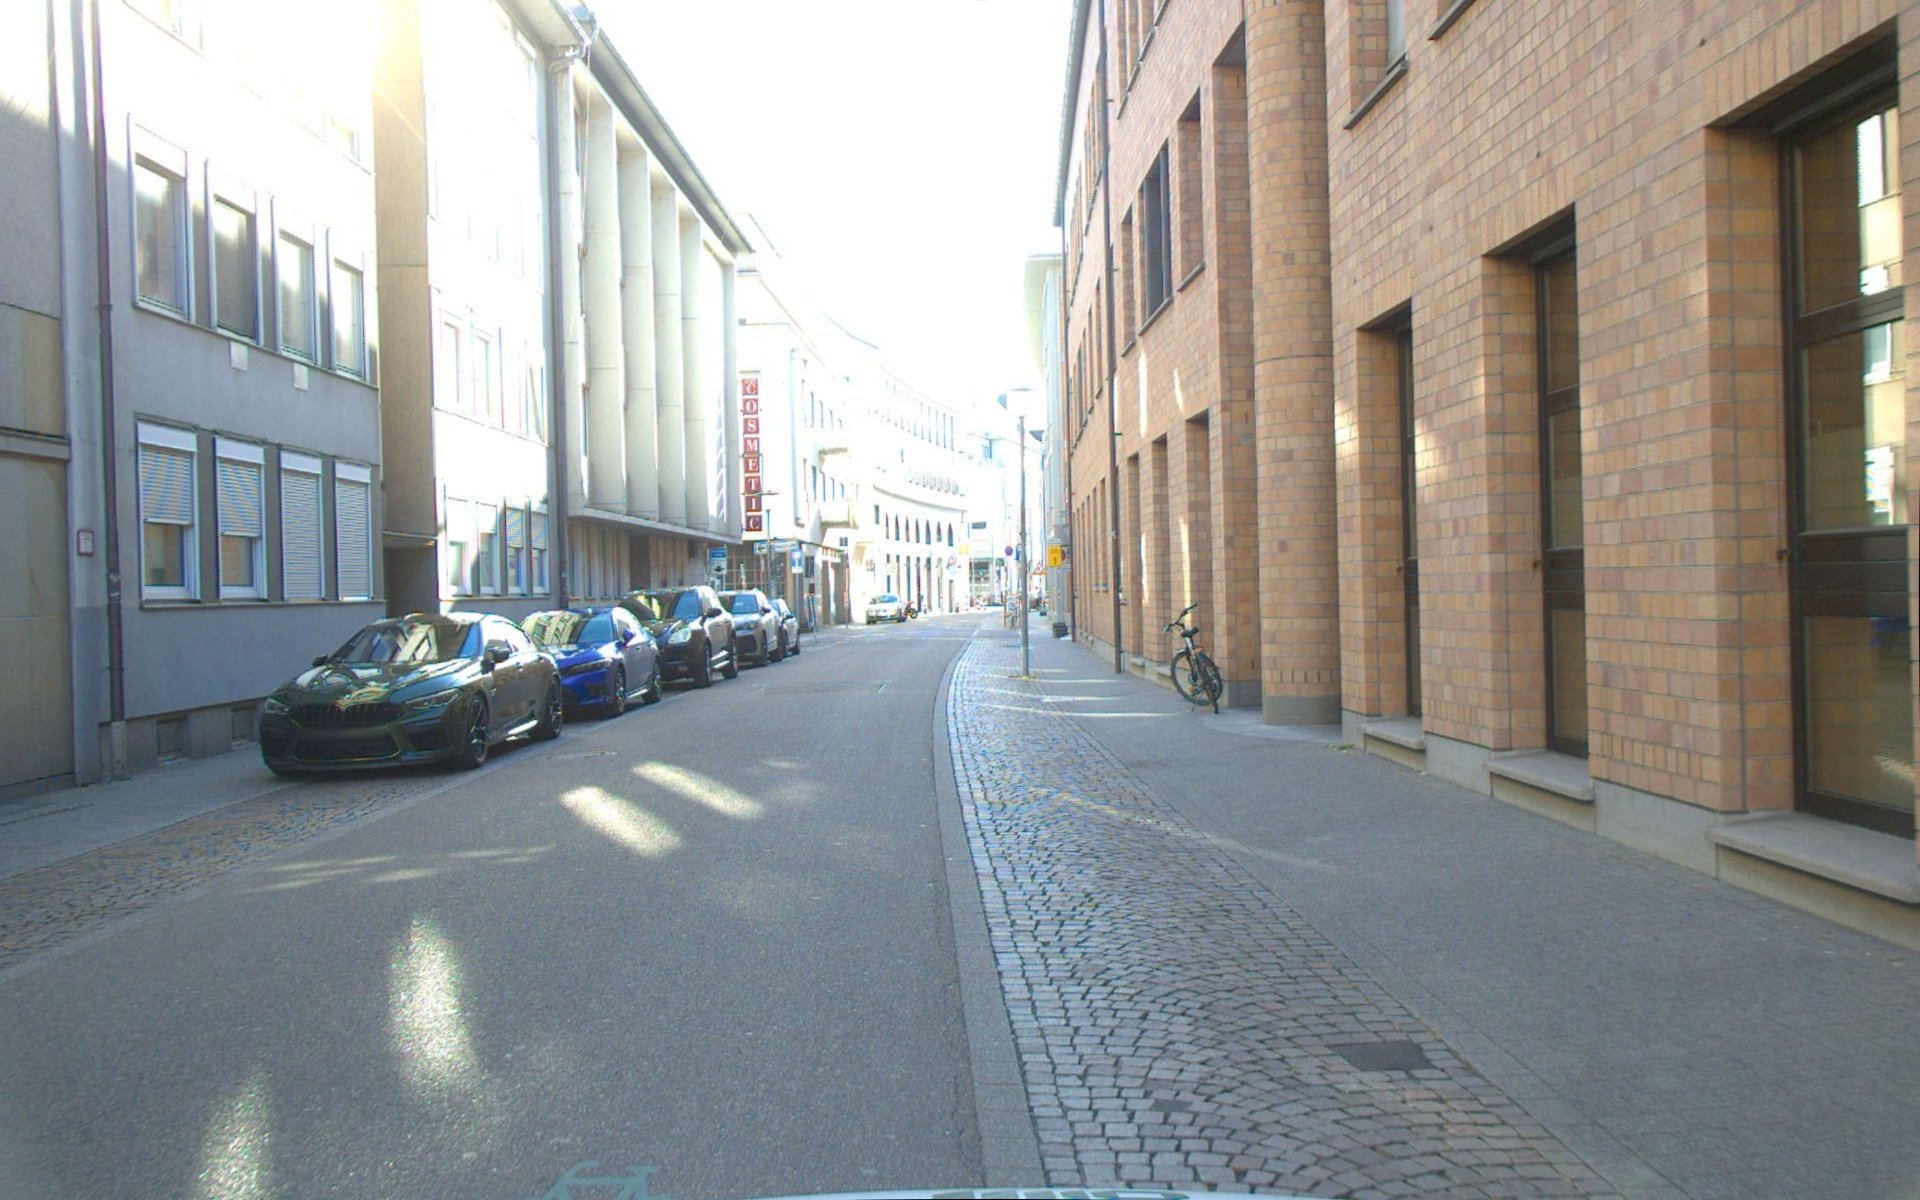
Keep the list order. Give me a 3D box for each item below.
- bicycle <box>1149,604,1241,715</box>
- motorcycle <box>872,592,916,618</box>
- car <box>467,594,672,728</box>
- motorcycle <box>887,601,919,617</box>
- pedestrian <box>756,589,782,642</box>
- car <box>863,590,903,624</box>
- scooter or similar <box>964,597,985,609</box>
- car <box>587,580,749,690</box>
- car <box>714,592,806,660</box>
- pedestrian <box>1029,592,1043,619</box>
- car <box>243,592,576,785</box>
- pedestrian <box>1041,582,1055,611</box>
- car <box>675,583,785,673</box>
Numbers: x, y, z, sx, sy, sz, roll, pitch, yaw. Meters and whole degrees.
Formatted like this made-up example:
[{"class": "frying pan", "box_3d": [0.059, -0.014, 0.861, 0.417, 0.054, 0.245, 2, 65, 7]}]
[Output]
[{"class": "bicycle", "box_3d": [2.634, 0.639, 18.720, 0.539, 1.122, 1.980, -5, 1, -4]}, {"class": "motorcycle", "box_3d": [-3.684, 0.278, 92.885, 2.341, 1.340, 0.862, -3, 0, 1]}, {"class": "car", "box_3d": [-5.208, 0.743, 22.627, 1.852, 1.556, 4.338, -2, 1, -2]}, {"class": "motorcycle", "box_3d": [-3.085, 0.486, 89.274, 1.655, 0.874, 0.595, 0, -1, 6]}, {"class": "pedestrian", "box_3d": [-5.990, 0.486, 51.999, 0.641, 1.654, 0.450, -1, 0, -40]}, {"class": "car", "box_3d": [-3.787, 0.331, 81.829, 1.700, 1.634, 3.534, -1, 0, 2]}, {"class": "scooter or similar", "box_3d": [1.137, 0.236, 128.254, 0.515, 0.944, 2.223, 0, 1, 31]}, {"class": "car", "box_3d": [-4.978, 0.535, 28.822, 1.851, 1.705, 4.554, -2, 1, 1]}, {"class": "car", "box_3d": [-4.944, 0.617, 41.297, 1.614, 1.486, 4.000, -4, 0, 1]}, {"class": "pedestrian", "box_3d": [5.305, 0.385, 114.974, 0.652, 1.901, 0.779, 1, -1, -29]}, {"class": "car", "box_3d": [-5.292, 0.750, 16.629, 1.852, 1.556, 4.727, -2, 1, -2]}, {"class": "pedestrian", "box_3d": [5.856, -0.252, 109.735, 0.652, 1.901, 0.754, 1, -1, -29]}, {"class": "car", "box_3d": [-4.975, 0.559, 36.296, 1.852, 1.772, 4.389, -2, 1, -2]}]
